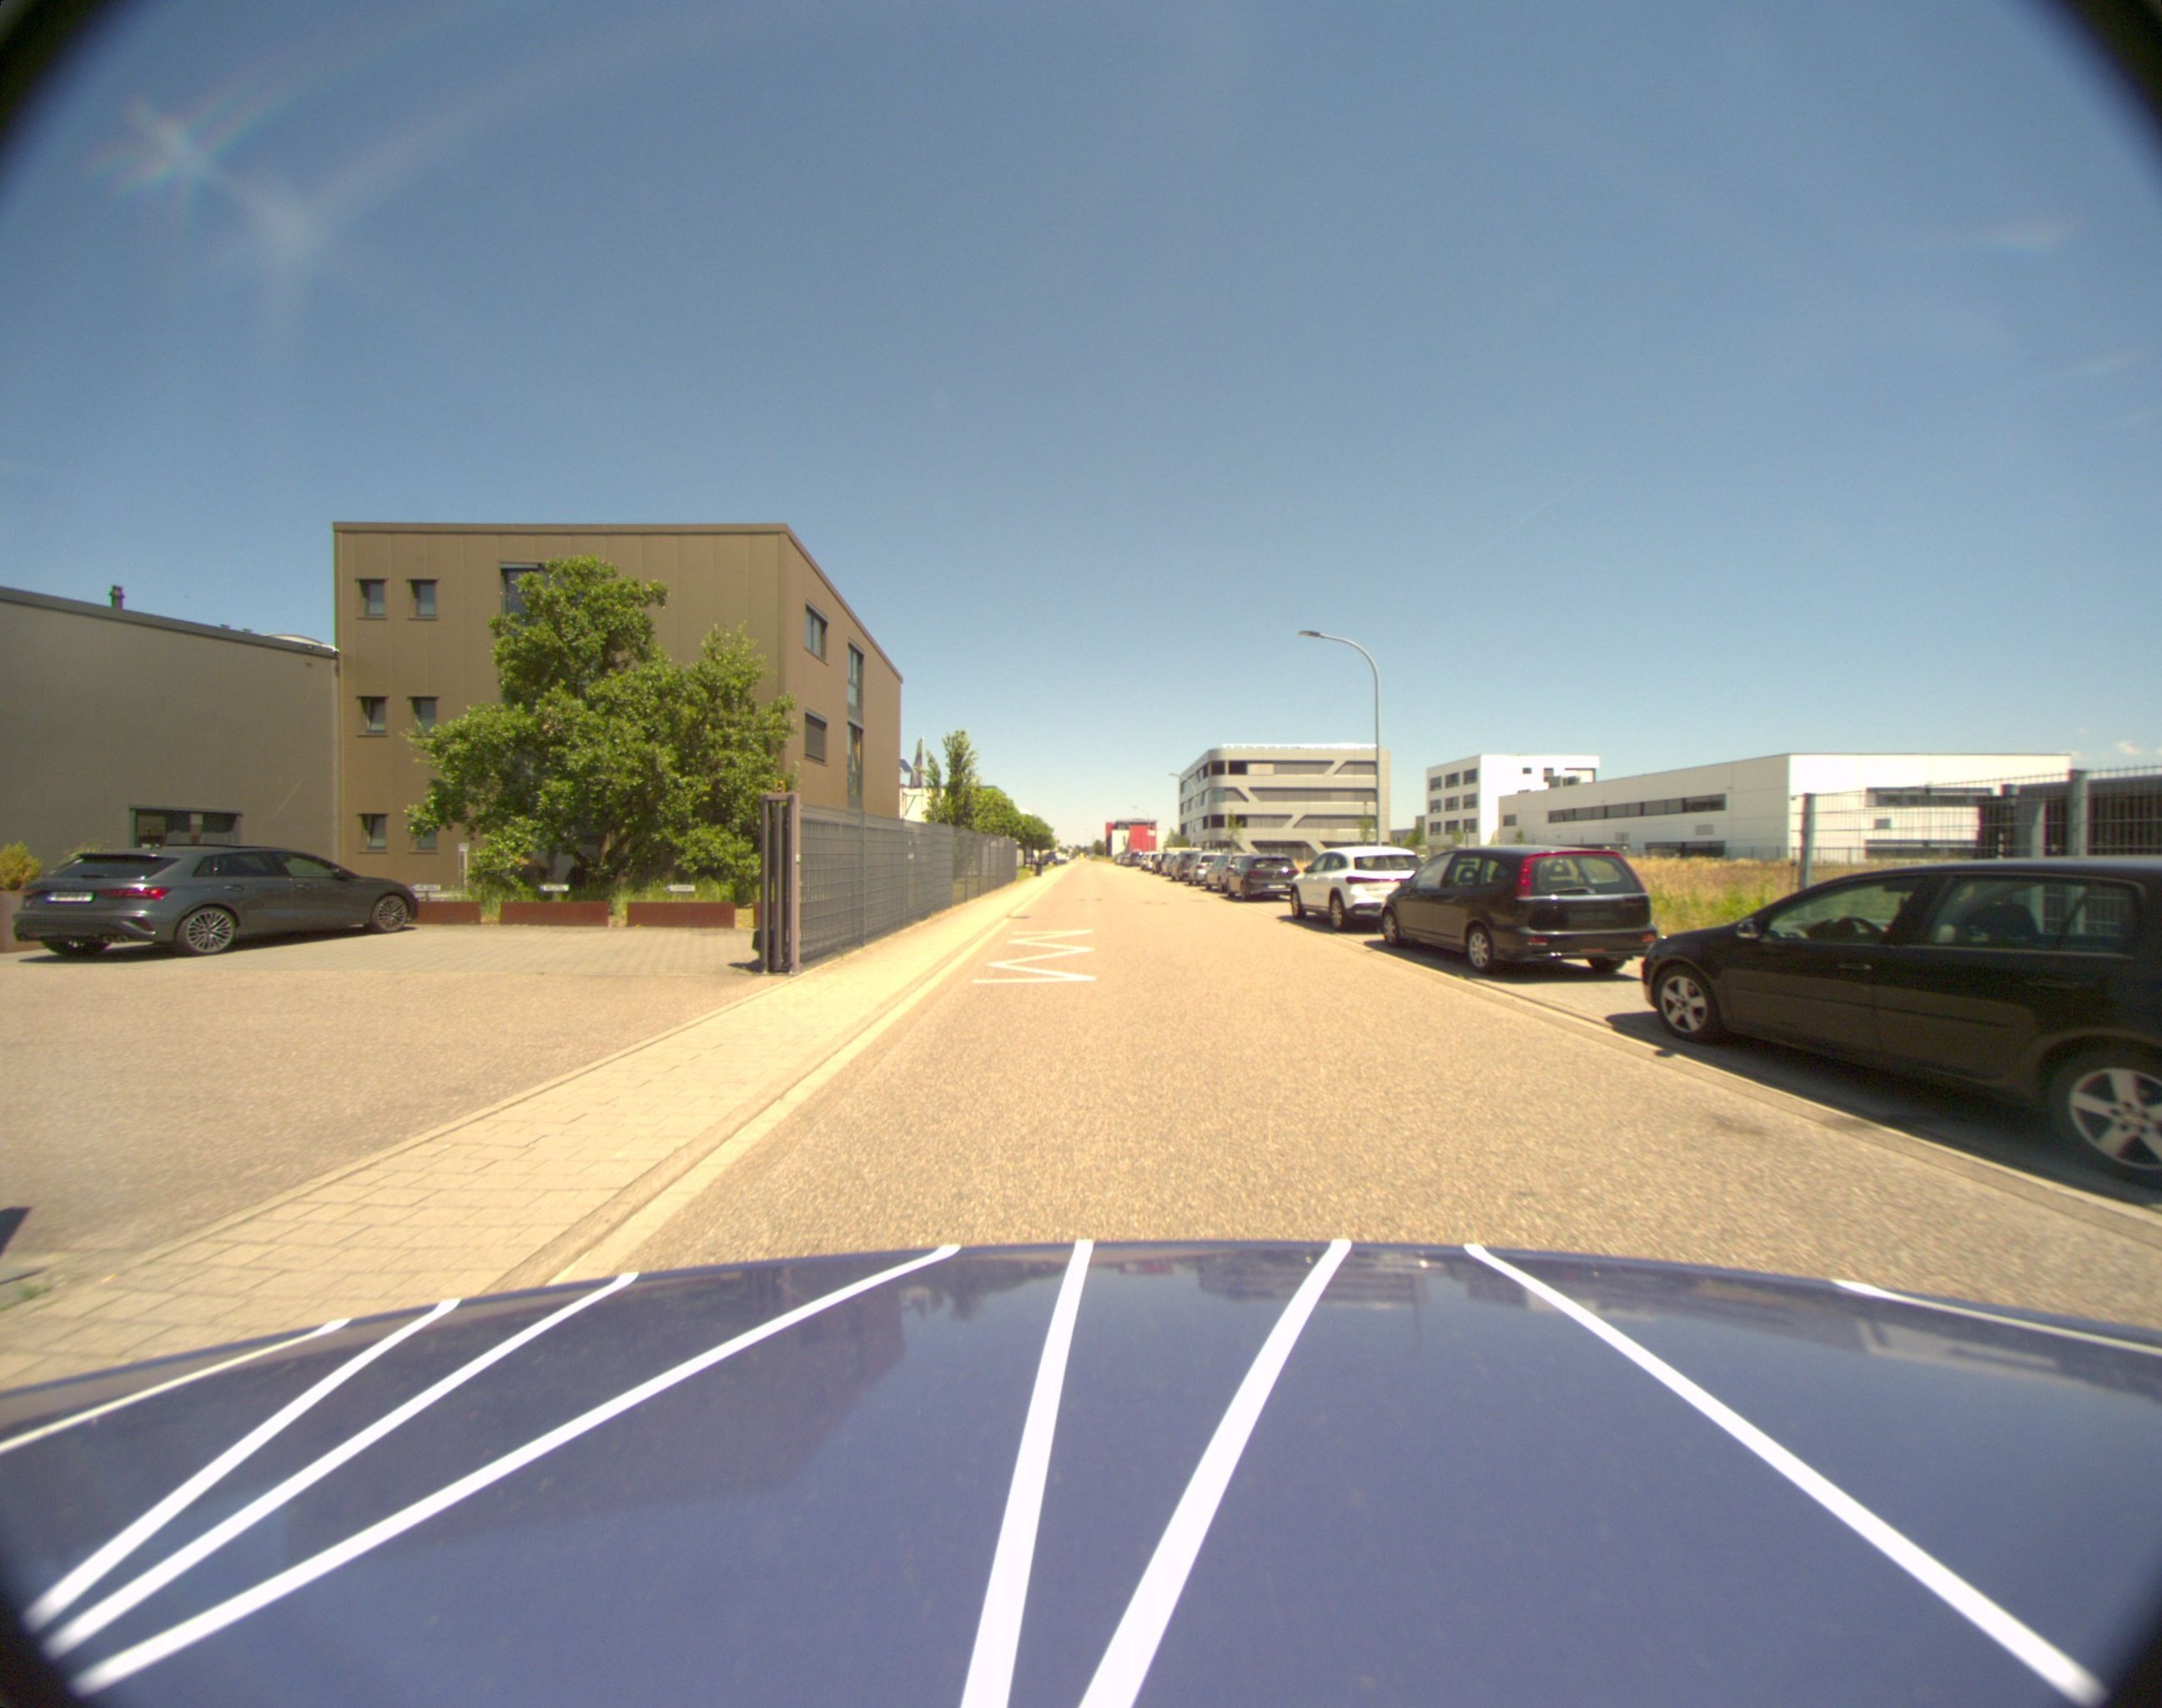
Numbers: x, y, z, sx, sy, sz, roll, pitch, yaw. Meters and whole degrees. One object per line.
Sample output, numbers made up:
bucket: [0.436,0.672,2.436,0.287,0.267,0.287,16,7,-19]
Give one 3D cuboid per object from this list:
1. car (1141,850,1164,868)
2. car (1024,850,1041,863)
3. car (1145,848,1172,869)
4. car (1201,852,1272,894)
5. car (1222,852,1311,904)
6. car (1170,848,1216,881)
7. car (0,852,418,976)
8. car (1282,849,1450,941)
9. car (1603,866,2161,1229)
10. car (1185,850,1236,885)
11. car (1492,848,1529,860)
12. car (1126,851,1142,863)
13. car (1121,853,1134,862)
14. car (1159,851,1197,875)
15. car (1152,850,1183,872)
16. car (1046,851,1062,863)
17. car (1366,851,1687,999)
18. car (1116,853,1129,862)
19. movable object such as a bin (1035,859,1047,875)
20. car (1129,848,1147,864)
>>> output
car: [6.249,0.408,66.913,1.791,1.533,4.365,-1,0,2]
car: [-6.091,0.340,95.412,1.727,1.623,4.022,-1,0,1]
car: [6.296,0.379,61.810,1.791,1.647,3.768,-1,0,0]
car: [5.991,0.686,29.861,1.779,1.472,4.815,-1,0,0]
car: [5.841,0.691,24.481,1.861,1.472,4.229,-1,0,1]
car: [5.898,0.507,40.513,1.795,1.597,4.462,-1,0,0]
car: [-12.137,0.699,10.927,1.659,1.435,4.000,0,1,0]
car: [5.631,0.709,15.652,1.773,1.583,4.359,-1,1,0]
car: [5.581,0.872,4.691,1.773,1.453,4.333,-1,1,1]
car: [5.934,0.582,35.181,1.698,1.516,3.734,-1,0,0]
car: [57.903,0.020,102.539,3.999,1.576,1.921,1,0,-6]
car: [6.769,0.361,97.279,1.639,1.527,3.657,-1,0,0]
car: [6.994,0.510,114.322,1.688,1.378,4.640,0,-1,1]
car: [6.251,0.525,49.269,1.768,1.442,4.199,-1,0,-2]
car: [6.133,0.467,54.329,1.767,1.508,4.379,-1,0,0]
car: [-3.378,0.400,95.472,1.696,1.419,4.246,-1,0,1]
car: [5.697,0.765,10.517,1.773,1.547,4.500,-1,1,0]
car: [6.720,0.560,123.300,1.704,1.378,3.937,0,-1,-2]
movable object such as a bin: [-2.431,0.780,46.384,0.553,0.923,0.522,4,1,10]
car: [6.506,0.250,86.822,1.807,1.709,4.622,-1,0,1]
